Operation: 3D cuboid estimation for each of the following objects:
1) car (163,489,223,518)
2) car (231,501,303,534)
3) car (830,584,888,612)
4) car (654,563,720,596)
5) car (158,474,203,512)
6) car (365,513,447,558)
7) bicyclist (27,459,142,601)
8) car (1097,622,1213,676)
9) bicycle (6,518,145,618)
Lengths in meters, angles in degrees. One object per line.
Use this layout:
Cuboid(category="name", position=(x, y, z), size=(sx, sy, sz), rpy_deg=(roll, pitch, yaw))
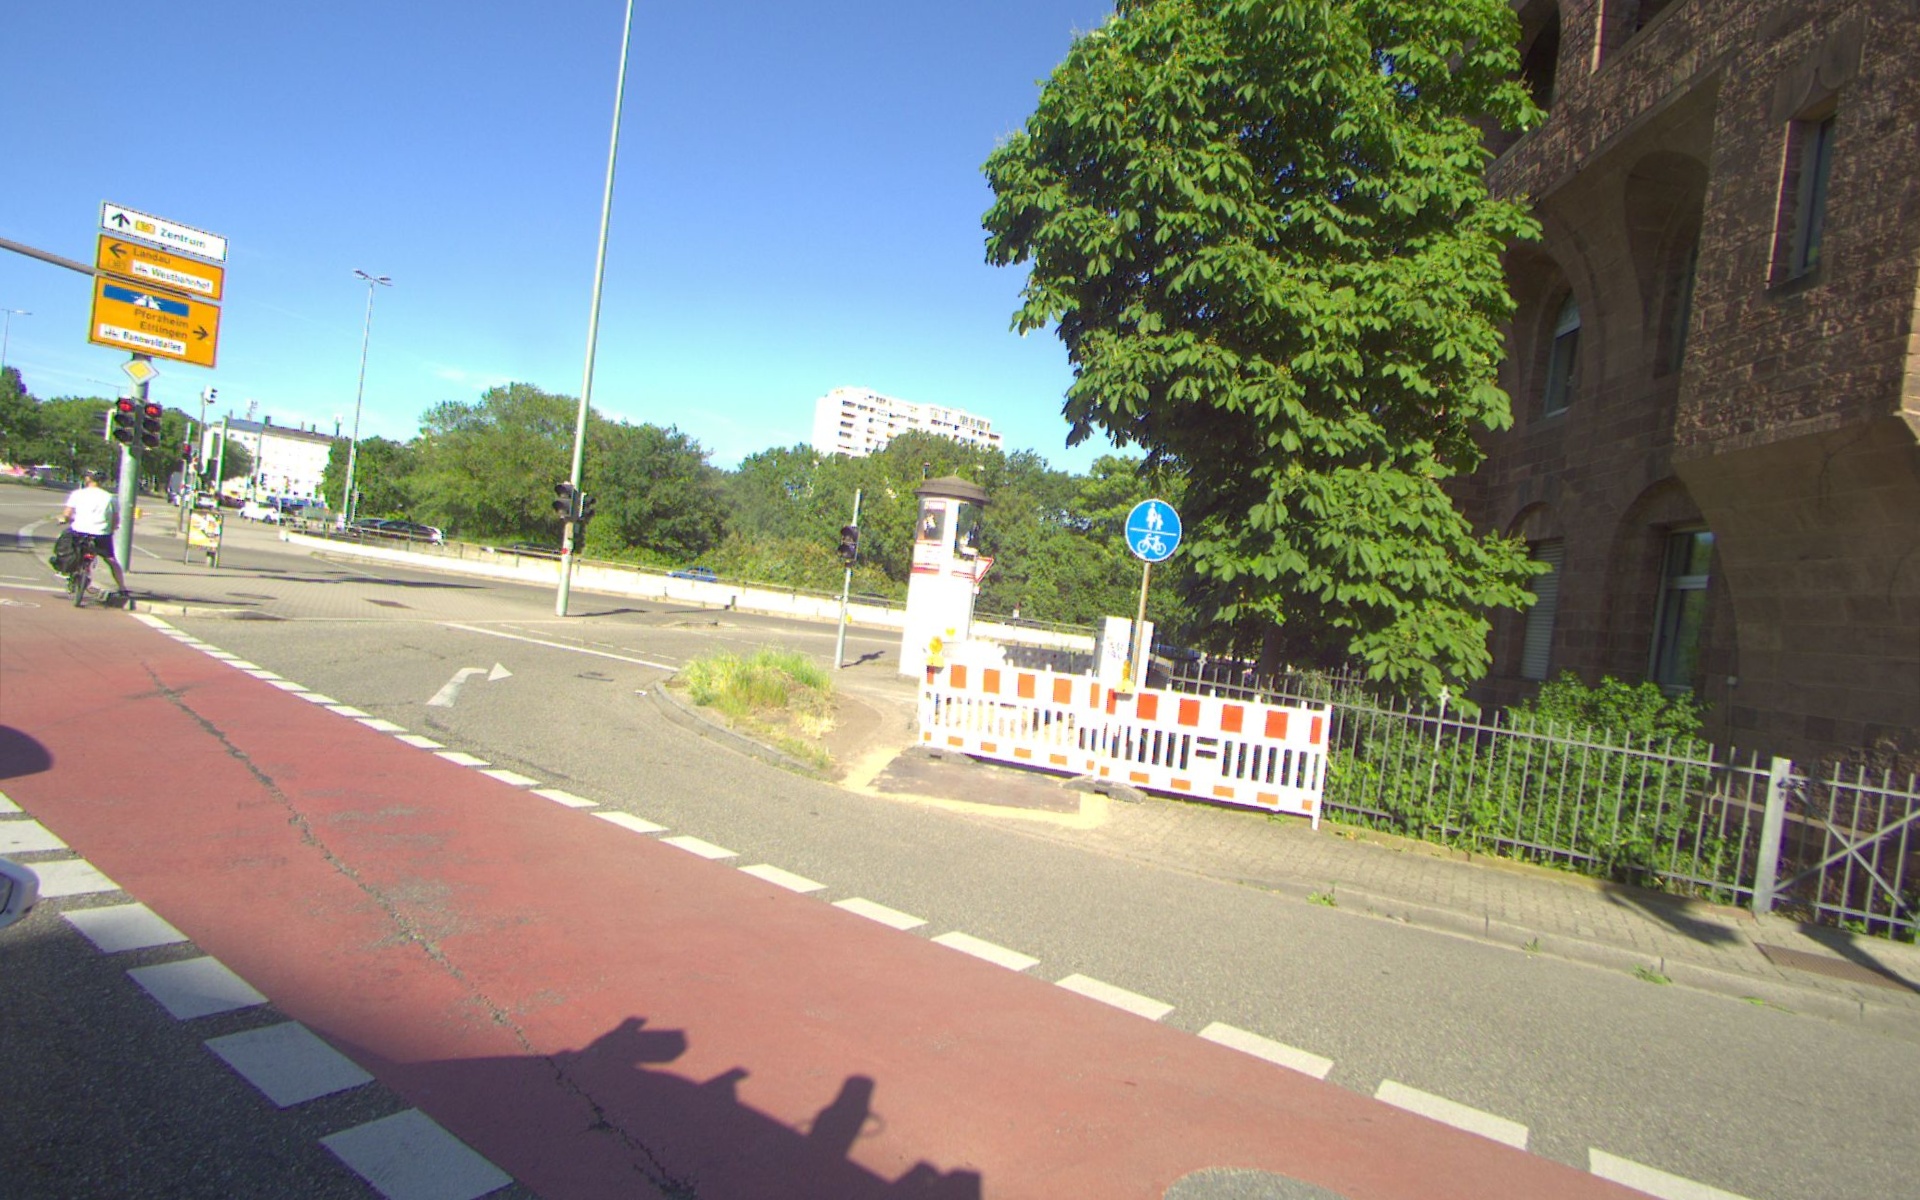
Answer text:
Cuboid(category="car", position=(-58.188, -7.334, 76.338), size=(3.930, 1.770, 1.999), rpy_deg=(5, -2, 26))
Cuboid(category="car", position=(-49.169, -5.848, 71.421), size=(3.924, 1.770, 2.002), rpy_deg=(6, -2, 14))
Cuboid(category="car", position=(-7.809, -0.159, 77.776), size=(3.946, 1.638, 1.719), rpy_deg=(8, 1, -22))
Cuboid(category="car", position=(-19.768, -1.449, 72.813), size=(4.208, 1.876, 2.008), rpy_deg=(7, -2, -26))
Cuboid(category="car", position=(-68.872, -9.441, 88.968), size=(2.236, 2.638, 4.852), rpy_deg=(7, -2, -29))
Cuboid(category="car", position=(-33.572, -3.887, 61.095), size=(3.943, 2.037, 1.992), rpy_deg=(7, -2, -20))
Cuboid(category="bicyclist", position=(-11.720, -0.927, 13.505), size=(0.793, 1.726, 1.077), rpy_deg=(8, 1, -29))
Cuboid(category="car", position=(7.928, 1.997, 40.874), size=(4.298, 1.512, 1.744), rpy_deg=(9, 0, -26))
Cuboid(category="bicycle", position=(-11.765, -0.460, 13.476), size=(0.793, 1.124, 2.384), rpy_deg=(8, 0, -29))
